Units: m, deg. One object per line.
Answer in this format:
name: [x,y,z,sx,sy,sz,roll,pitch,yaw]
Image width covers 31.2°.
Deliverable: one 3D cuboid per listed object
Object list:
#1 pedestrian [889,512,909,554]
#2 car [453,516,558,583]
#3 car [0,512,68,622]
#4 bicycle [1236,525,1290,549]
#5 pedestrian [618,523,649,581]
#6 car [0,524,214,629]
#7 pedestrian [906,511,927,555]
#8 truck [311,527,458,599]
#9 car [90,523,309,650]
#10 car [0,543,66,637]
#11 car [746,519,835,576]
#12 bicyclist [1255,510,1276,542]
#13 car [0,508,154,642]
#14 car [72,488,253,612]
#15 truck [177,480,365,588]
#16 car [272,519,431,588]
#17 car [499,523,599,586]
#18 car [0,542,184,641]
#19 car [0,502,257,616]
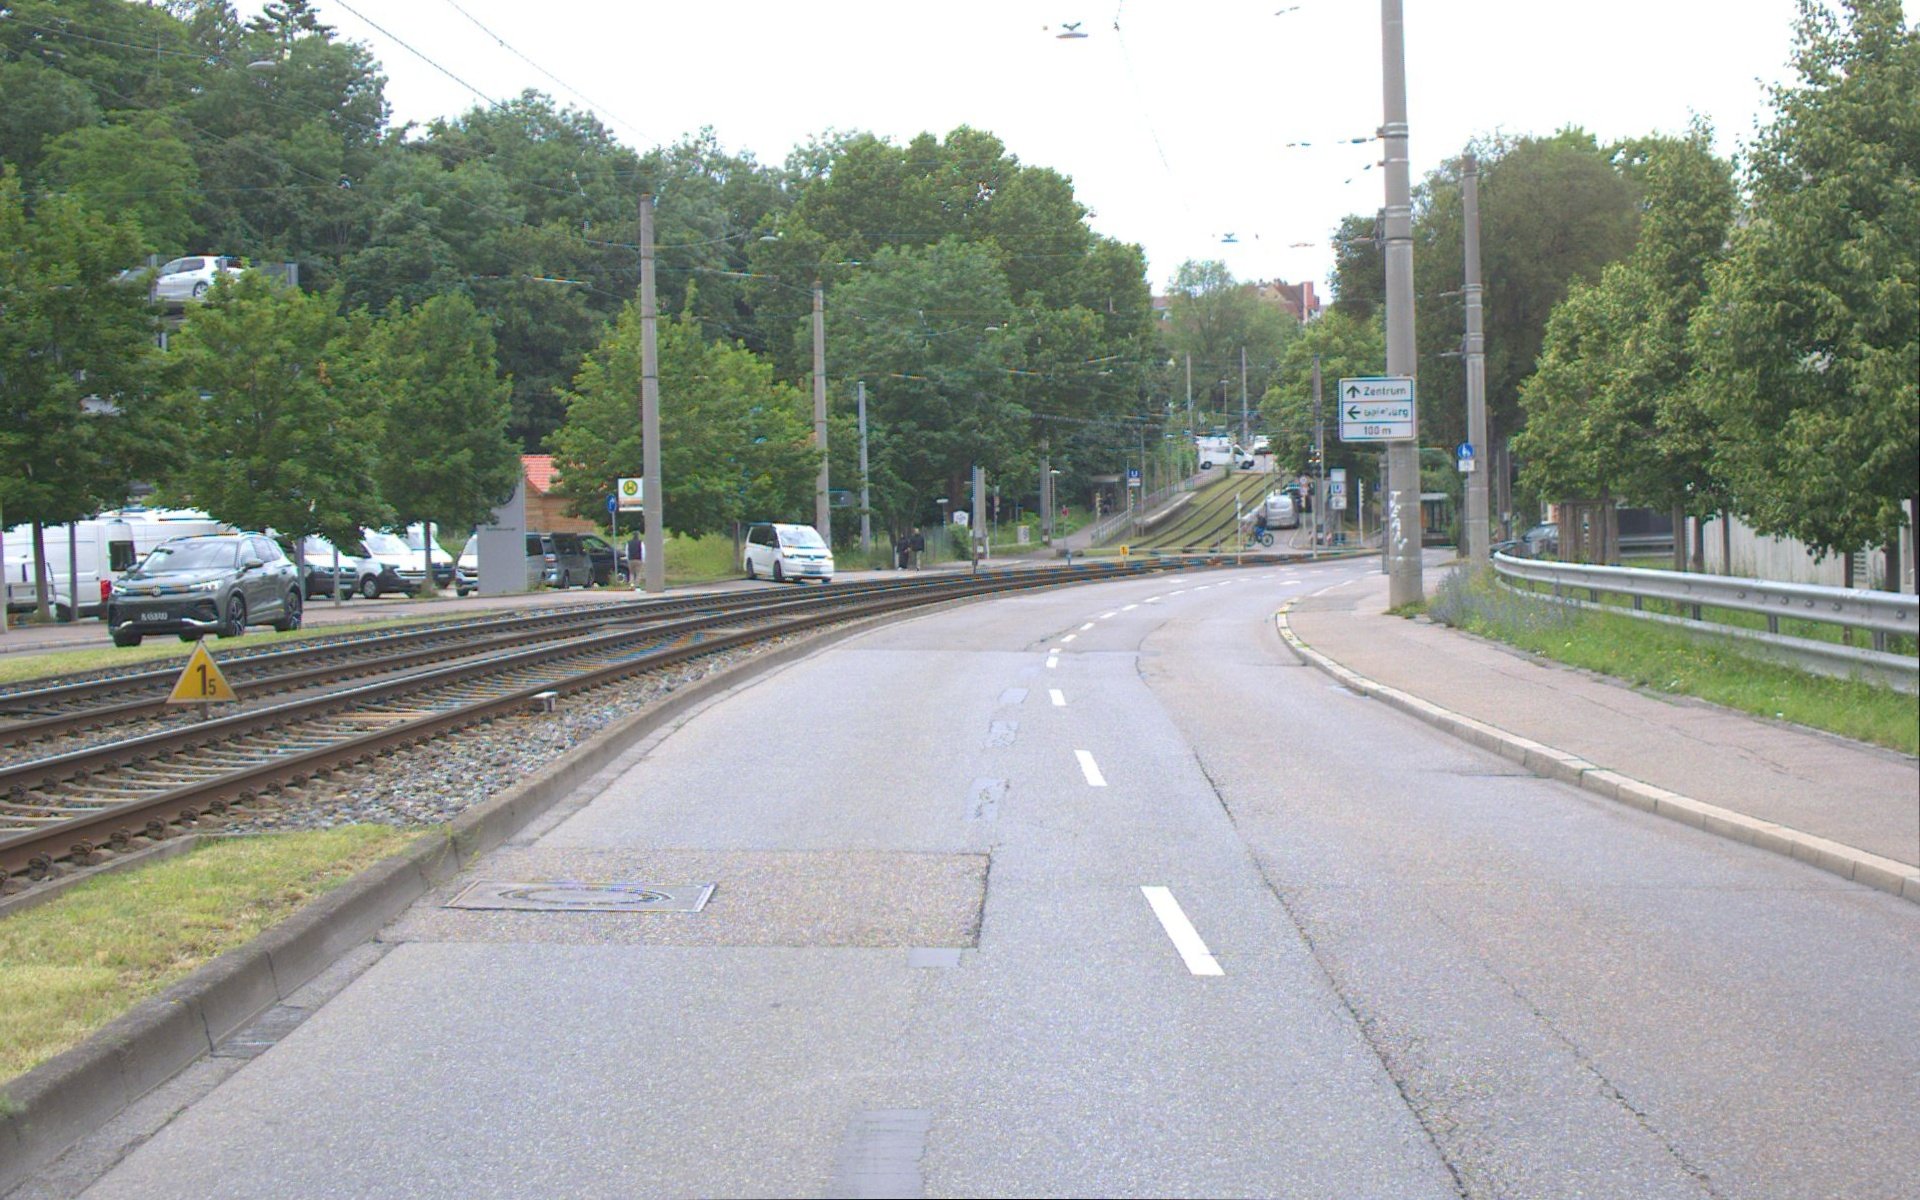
pedestrian: [-2.533,-2.760,142.129,0.628,1.707,0.855,1,2,12]
car: [-14.189,-1.600,107.651,1.994,2.007,4.918,-1,1,8]
car: [-20.361,-0.642,68.890,4.366,2.165,2.004,-1,1,6]
bicycle: [17.508,-3.623,198.715,2.986,1.339,0.827,-1,1,-7]
pedestrian: [-9.486,-1.407,99.835,0.718,1.650,1.042,1,2,2]
car: [-19.588,-0.556,78.797,4.367,2.098,2.004,4,2,6]
pedestrian: [-1.782,-2.781,142.112,0.677,1.807,0.855,1,2,12]
truck: [-21.514,-1.382,128.499,5.066,2.579,2.464,0,1,35]
car: [-11.432,-0.218,52.001,1.994,1.733,4.534,-3,0,3]
car: [-21.165,-0.199,71.810,4.366,1.904,2.004,-1,1,6]
car: [-5.868,-1.829,118.363,2.159,1.881,5.074,1,1,-13]
bicyclist: [17.666,-4.279,198.718,1.048,1.843,0.824,-2,2,-7]
car: [-19.842,-0.533,74.042,4.366,2.809,2.004,-1,1,6]
car: [-20.123,-1.292,87.049,2.109,3.009,5.934,-1,1,12]
truck: [-20.484,-1.945,102.065,5.933,3.074,2.115,0,2,39]
car: [-18.360,-1.391,103.721,4.725,2.007,1.996,0,2,37]
car: [-13.550,-1.523,113.654,1.994,2.007,5.128,-1,1,8]
car: [-19.688,-0.193,76.314,4.366,2.098,2.004,-1,1,6]
car: [-19.771,-0.978,81.829,5.475,2.593,2.246,-1,1,10]
